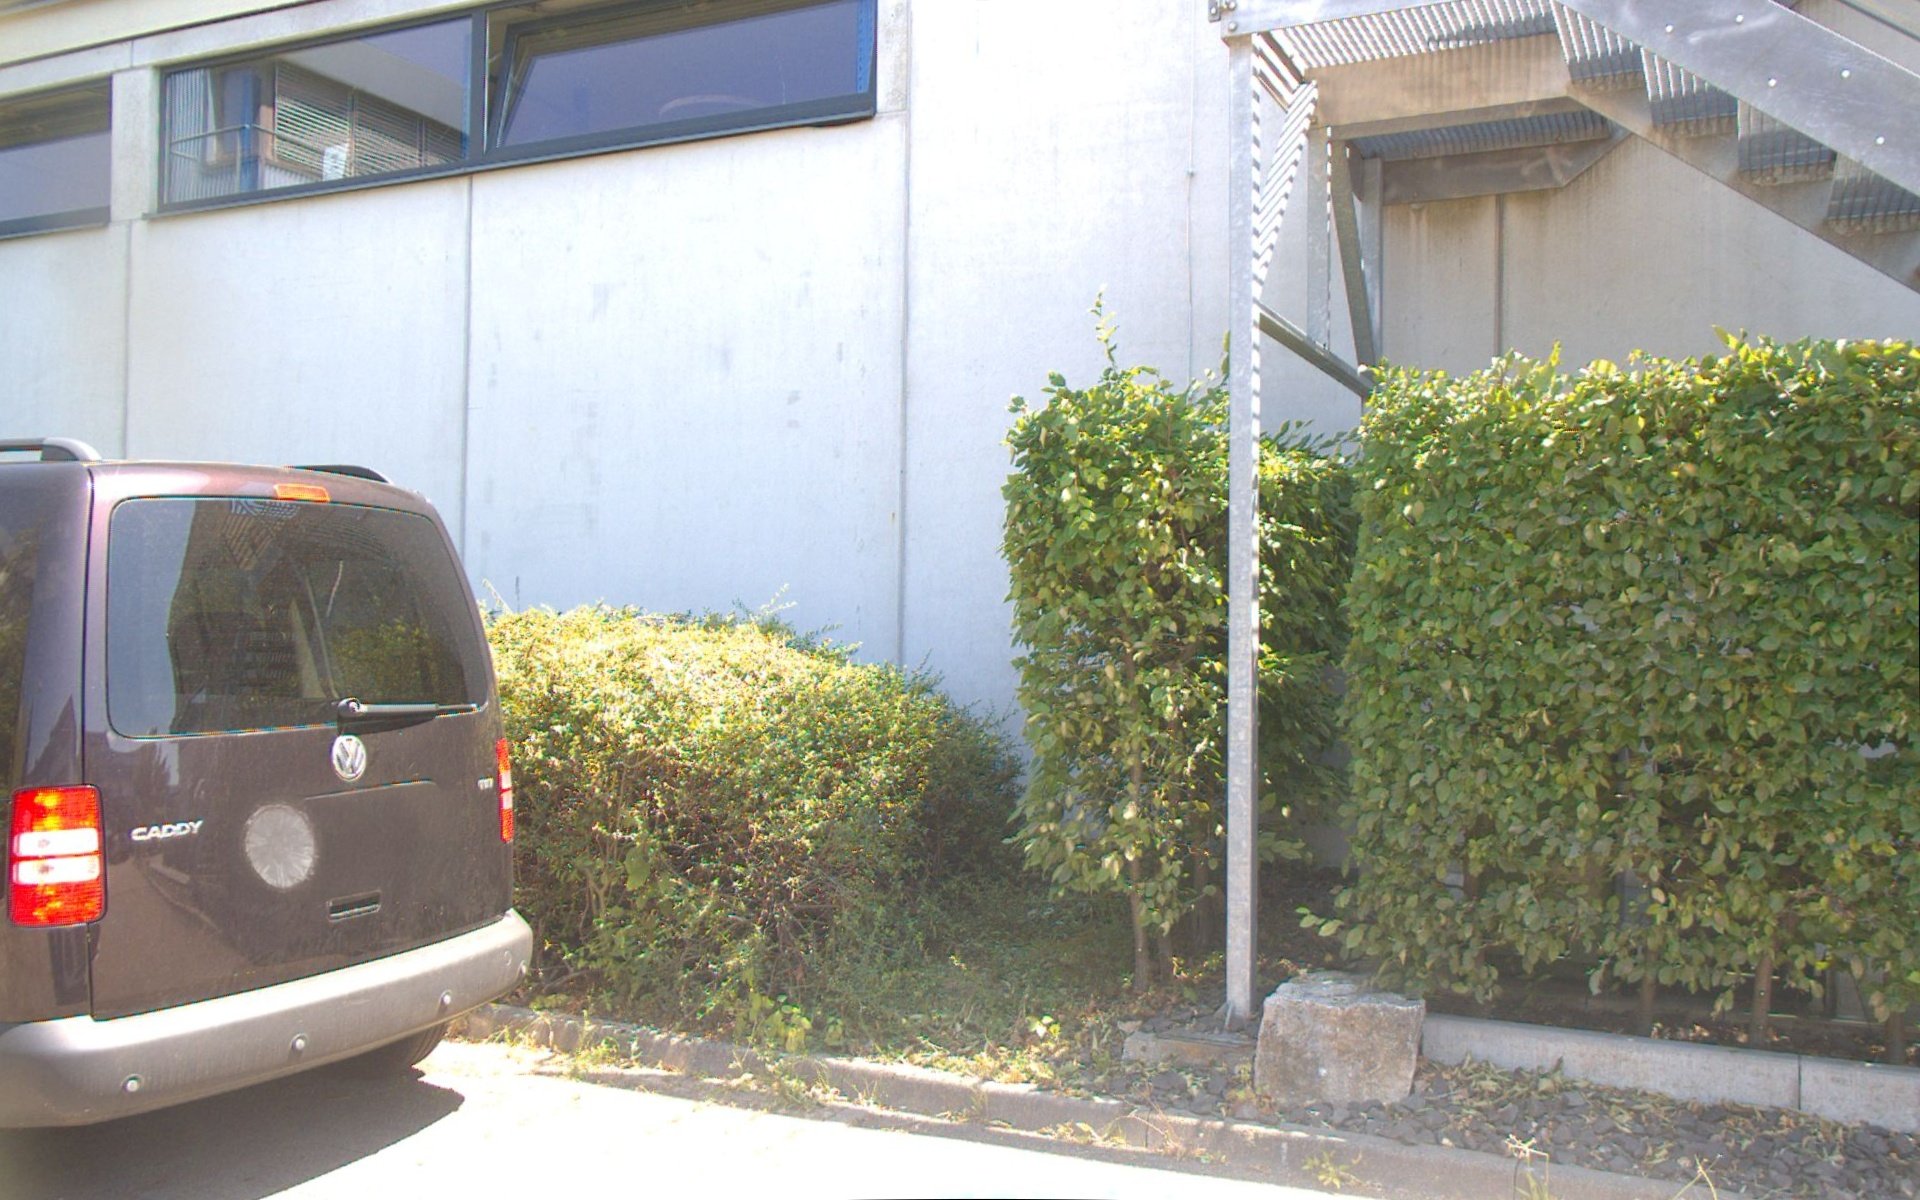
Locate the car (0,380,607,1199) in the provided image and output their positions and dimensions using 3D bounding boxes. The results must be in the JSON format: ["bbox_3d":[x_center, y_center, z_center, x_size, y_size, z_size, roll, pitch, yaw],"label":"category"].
[{"bbox_3d":[-3.200,0.504,5.051,3.979,1.917,1.677,0,0,26],"label":"car"}]
